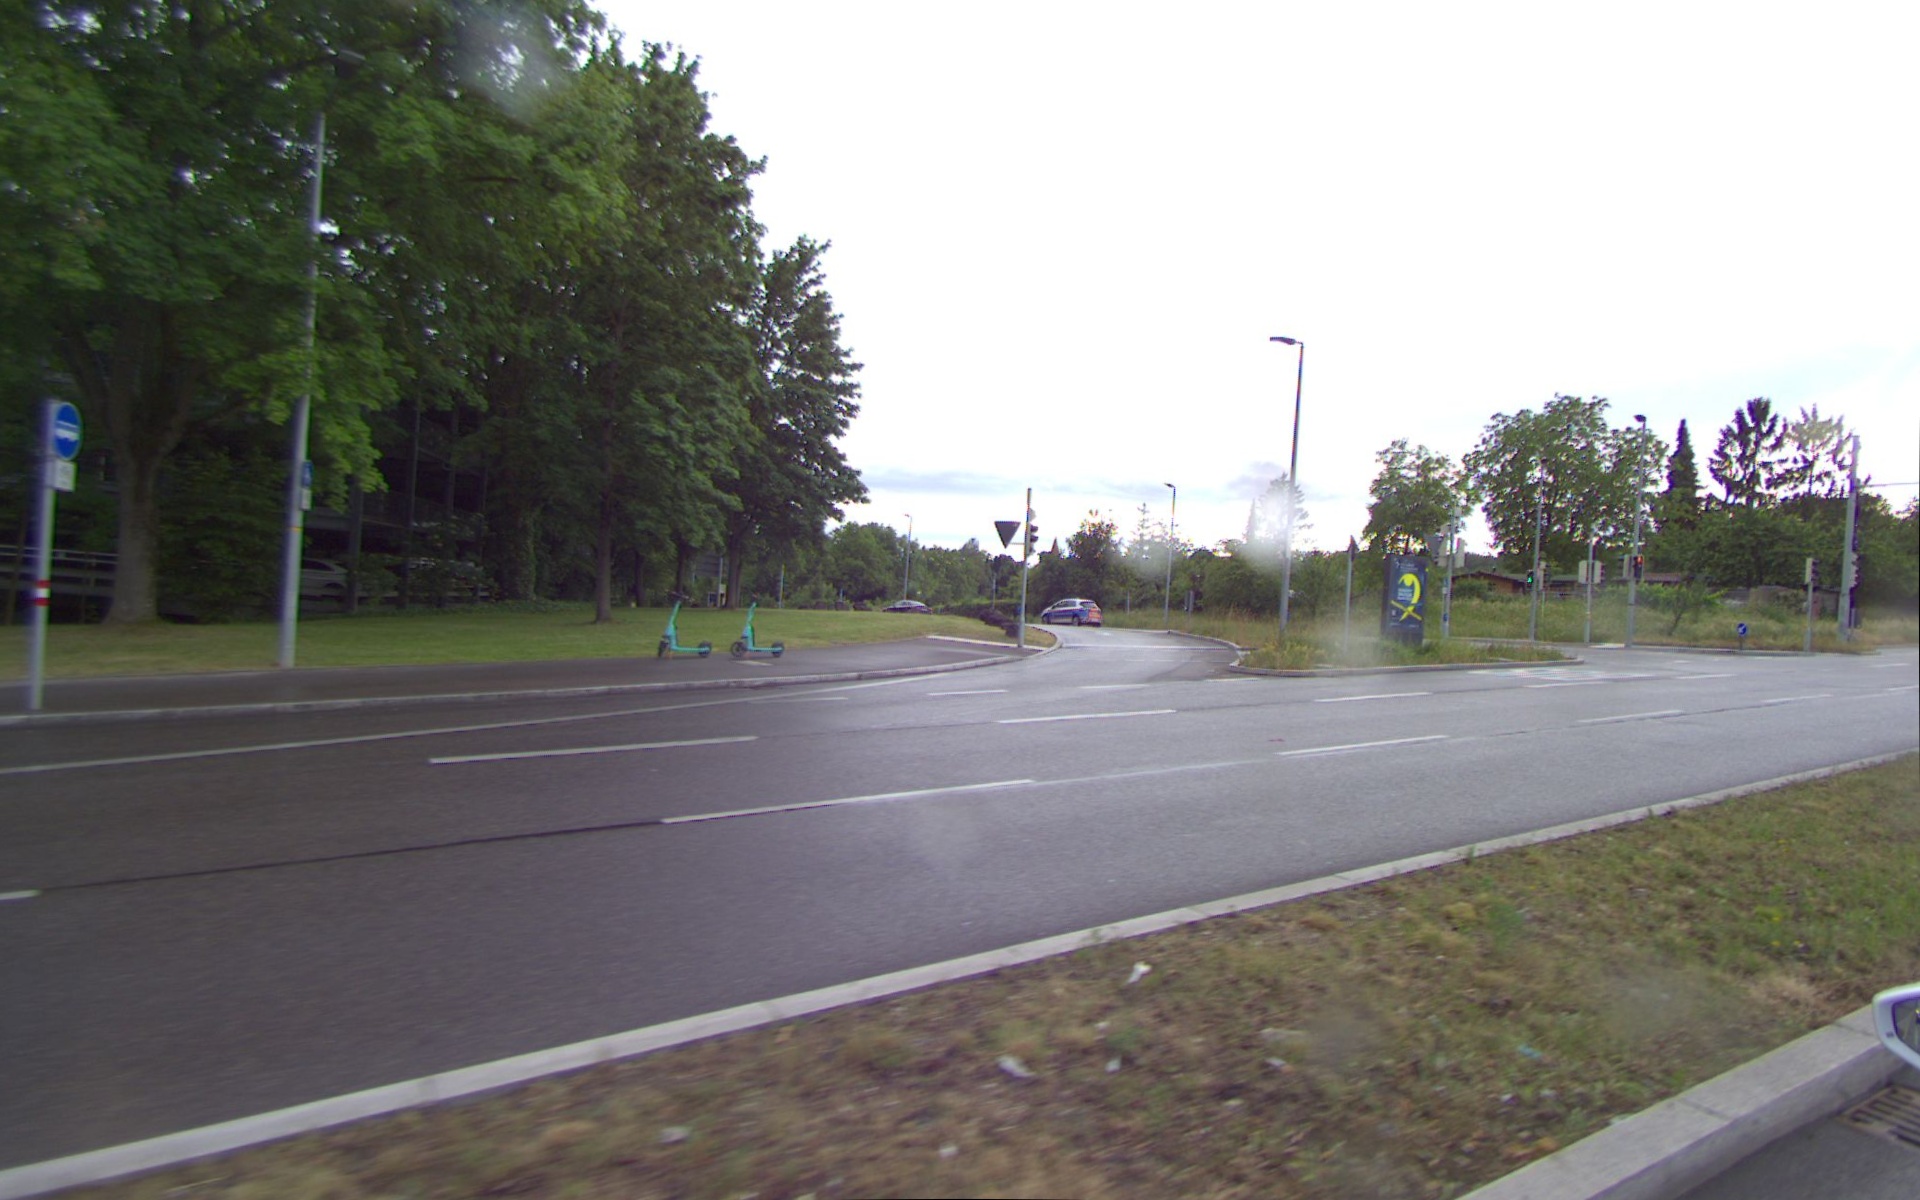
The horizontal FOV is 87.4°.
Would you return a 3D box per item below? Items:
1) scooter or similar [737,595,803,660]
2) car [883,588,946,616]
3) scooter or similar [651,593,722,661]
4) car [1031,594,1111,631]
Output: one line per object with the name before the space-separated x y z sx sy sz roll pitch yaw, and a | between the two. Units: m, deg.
scooter or similar | -3.728 0.526 19.770 1.299 1.234 0.308 0 2 -45
car | -3.227 0.114 70.309 2.152 1.603 4.617 3 2 -35
scooter or similar | -5.111 0.490 18.817 1.299 1.234 0.308 0 2 -45
car | 6.196 0.684 56.413 2.066 1.741 4.150 3 2 -39
